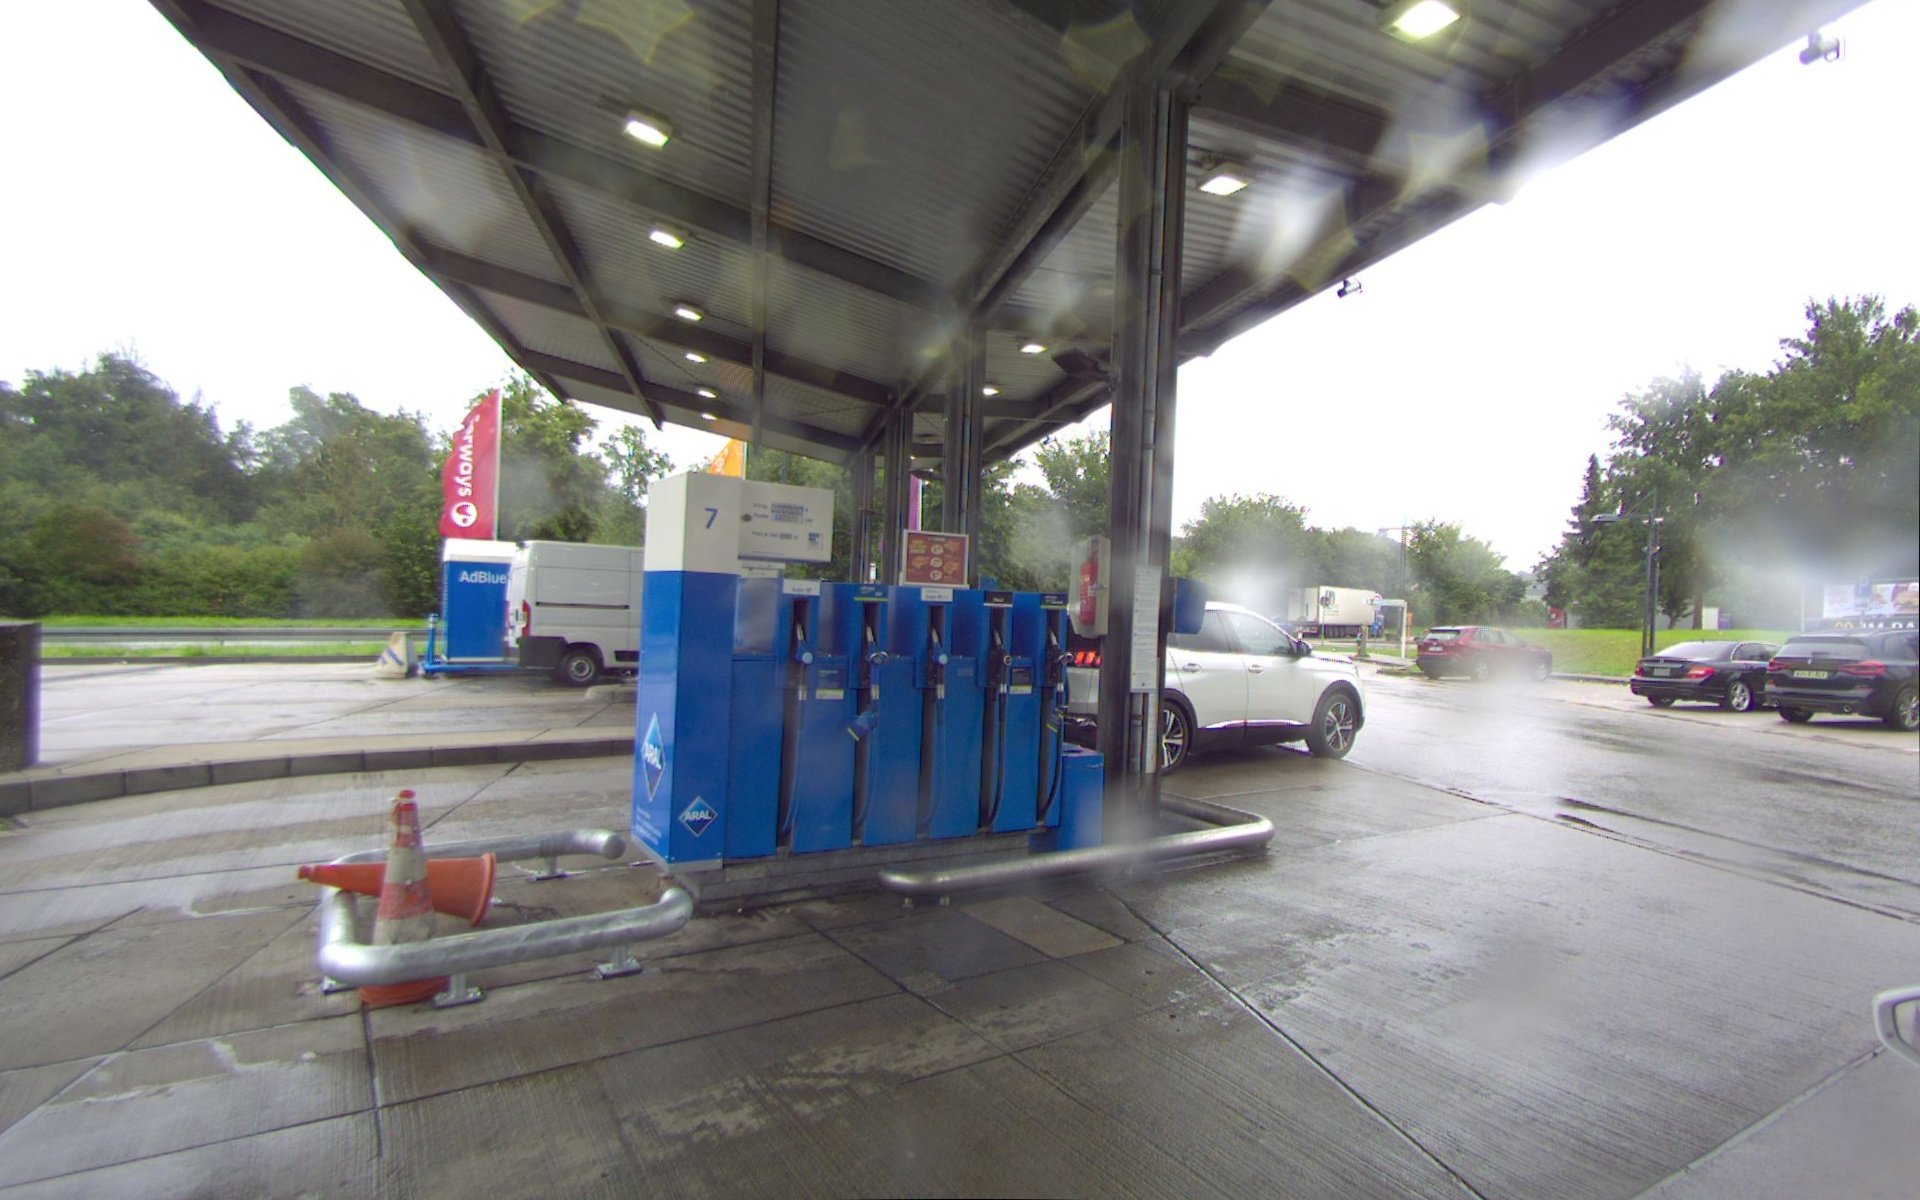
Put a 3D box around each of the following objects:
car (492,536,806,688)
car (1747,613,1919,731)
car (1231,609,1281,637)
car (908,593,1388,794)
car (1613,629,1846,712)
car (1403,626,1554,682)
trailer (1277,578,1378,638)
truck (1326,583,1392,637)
[{"bbox_3d":[-5.786,0.265,18.959,5.227,2.496,2.306,1,-1,-34],"label":"car"},{"bbox_3d":[16.140,1.187,17.407,4.344,1.852,1.883,1,-1,-19],"label":"car"},{"bbox_3d":[20.902,1.631,70.850,1.903,1.862,4.373,1,0,38],"label":"car"},{"bbox_3d":[2.057,0.794,10.162,4.953,1.586,1.802,1,0,-35],"label":"car"},{"bbox_3d":[15.926,1.415,20.826,4.119,1.585,1.883,1,-1,-19],"label":"car"},{"bbox_3d":[15.989,1.644,30.973,4.294,1.617,1.879,1,-1,-24],"label":"car"},{"bbox_3d":[30.895,0.751,83.860,3.416,4.618,13.847,2,0,40],"label":"trailer"},{"bbox_3d":[35.568,0.921,89.464,3.416,4.618,6.704,2,0,40],"label":"truck"}]
